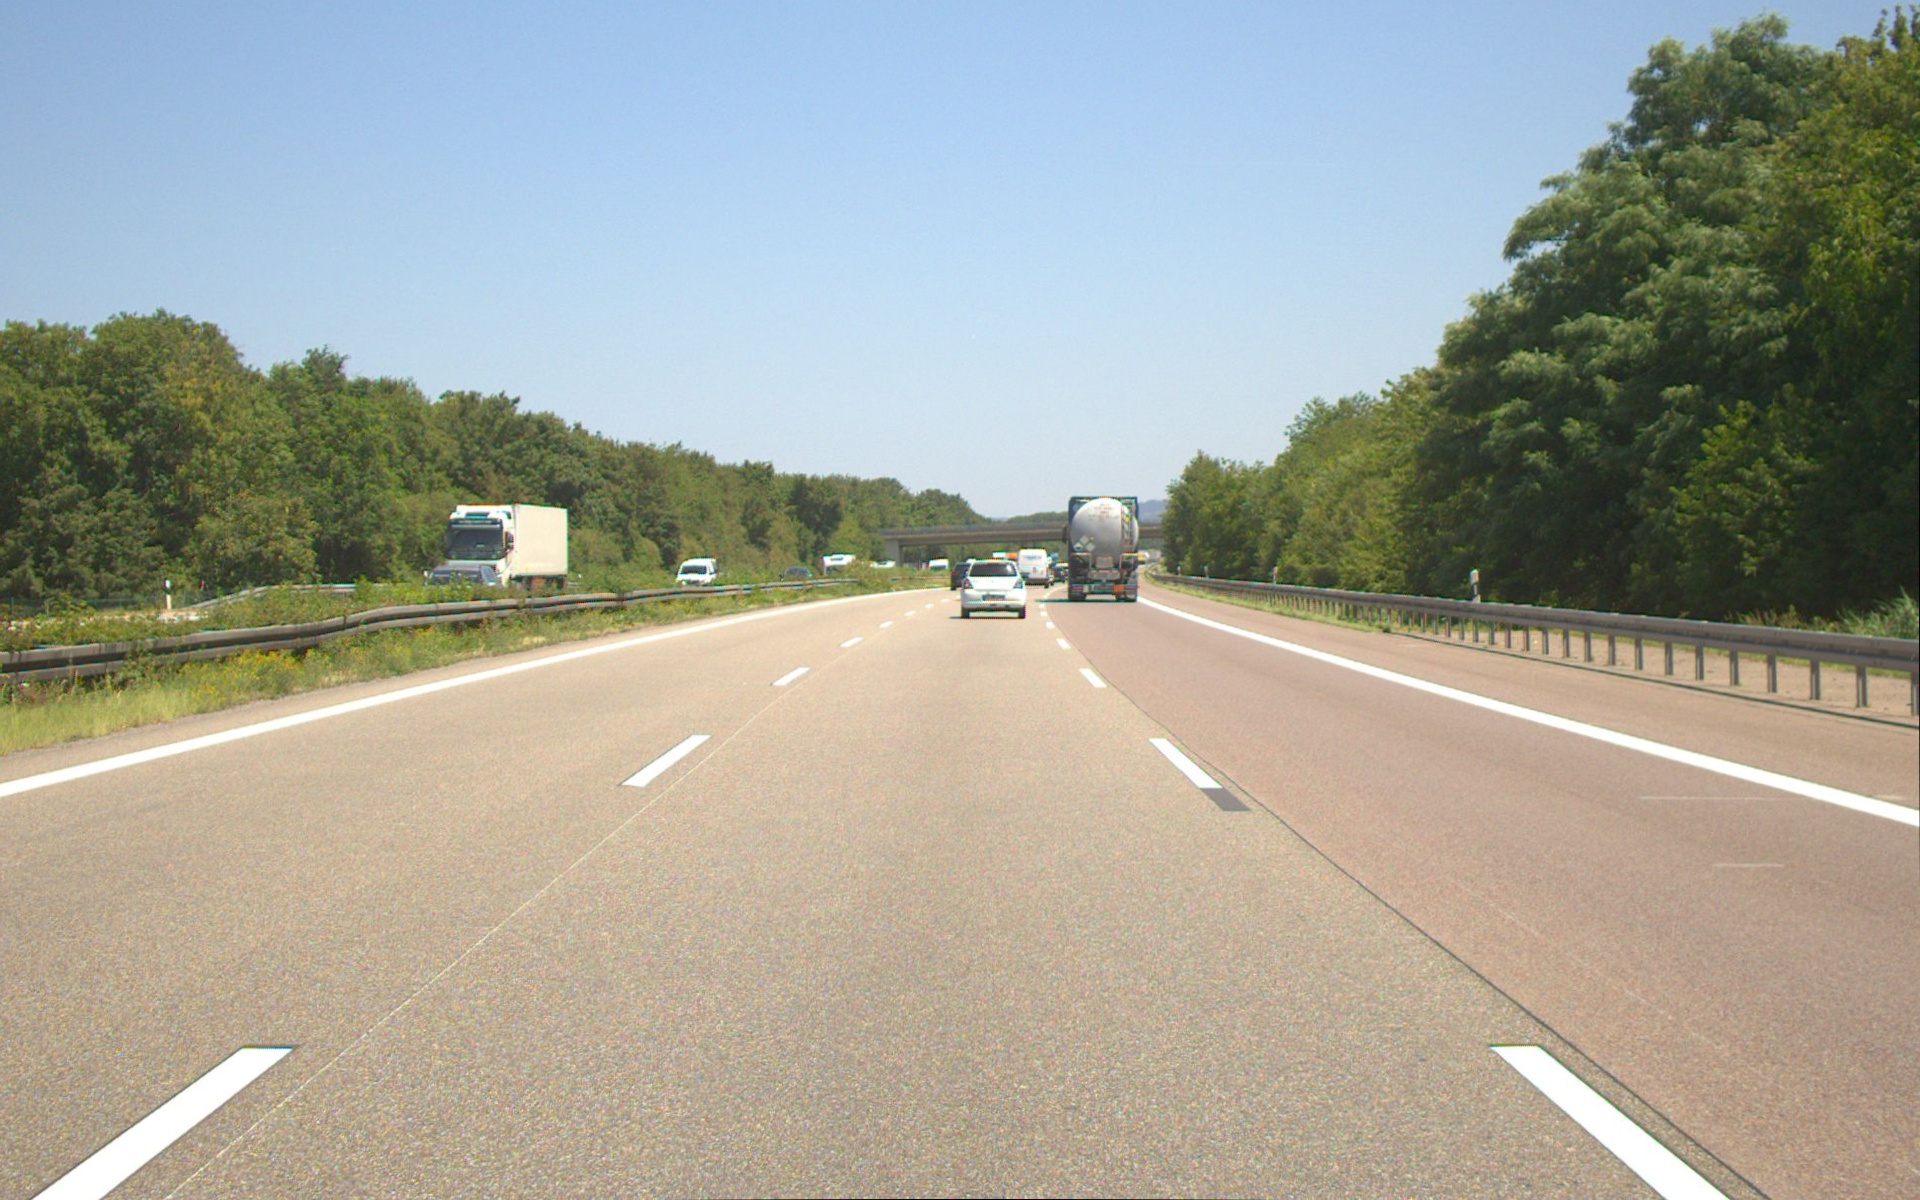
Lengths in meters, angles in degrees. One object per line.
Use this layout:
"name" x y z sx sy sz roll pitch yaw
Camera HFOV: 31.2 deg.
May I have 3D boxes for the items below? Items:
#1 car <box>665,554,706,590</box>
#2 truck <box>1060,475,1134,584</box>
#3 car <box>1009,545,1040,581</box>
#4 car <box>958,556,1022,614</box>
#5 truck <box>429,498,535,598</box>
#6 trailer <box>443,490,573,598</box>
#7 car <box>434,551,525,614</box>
"car" -14.679 -1.507 183.993 1.815 1.870 4.878 0 1 0
"truck" 5.279 -2.667 132.499 2.739 4.038 10.454 0 0 2
"car" 4.168 -2.408 222.597 1.993 2.335 4.387 0 1 1
"car" 0.766 -0.394 89.847 1.627 1.474 4.000 0 0 0
"truck" -19.274 -2.088 138.877 3.261 3.938 6.100 0 0 2
"trailer" -19.063 -2.359 146.014 3.311 4.347 13.587 0 1 2
"car" -12.202 -0.458 87.507 1.782 1.565 3.981 0 1 0
